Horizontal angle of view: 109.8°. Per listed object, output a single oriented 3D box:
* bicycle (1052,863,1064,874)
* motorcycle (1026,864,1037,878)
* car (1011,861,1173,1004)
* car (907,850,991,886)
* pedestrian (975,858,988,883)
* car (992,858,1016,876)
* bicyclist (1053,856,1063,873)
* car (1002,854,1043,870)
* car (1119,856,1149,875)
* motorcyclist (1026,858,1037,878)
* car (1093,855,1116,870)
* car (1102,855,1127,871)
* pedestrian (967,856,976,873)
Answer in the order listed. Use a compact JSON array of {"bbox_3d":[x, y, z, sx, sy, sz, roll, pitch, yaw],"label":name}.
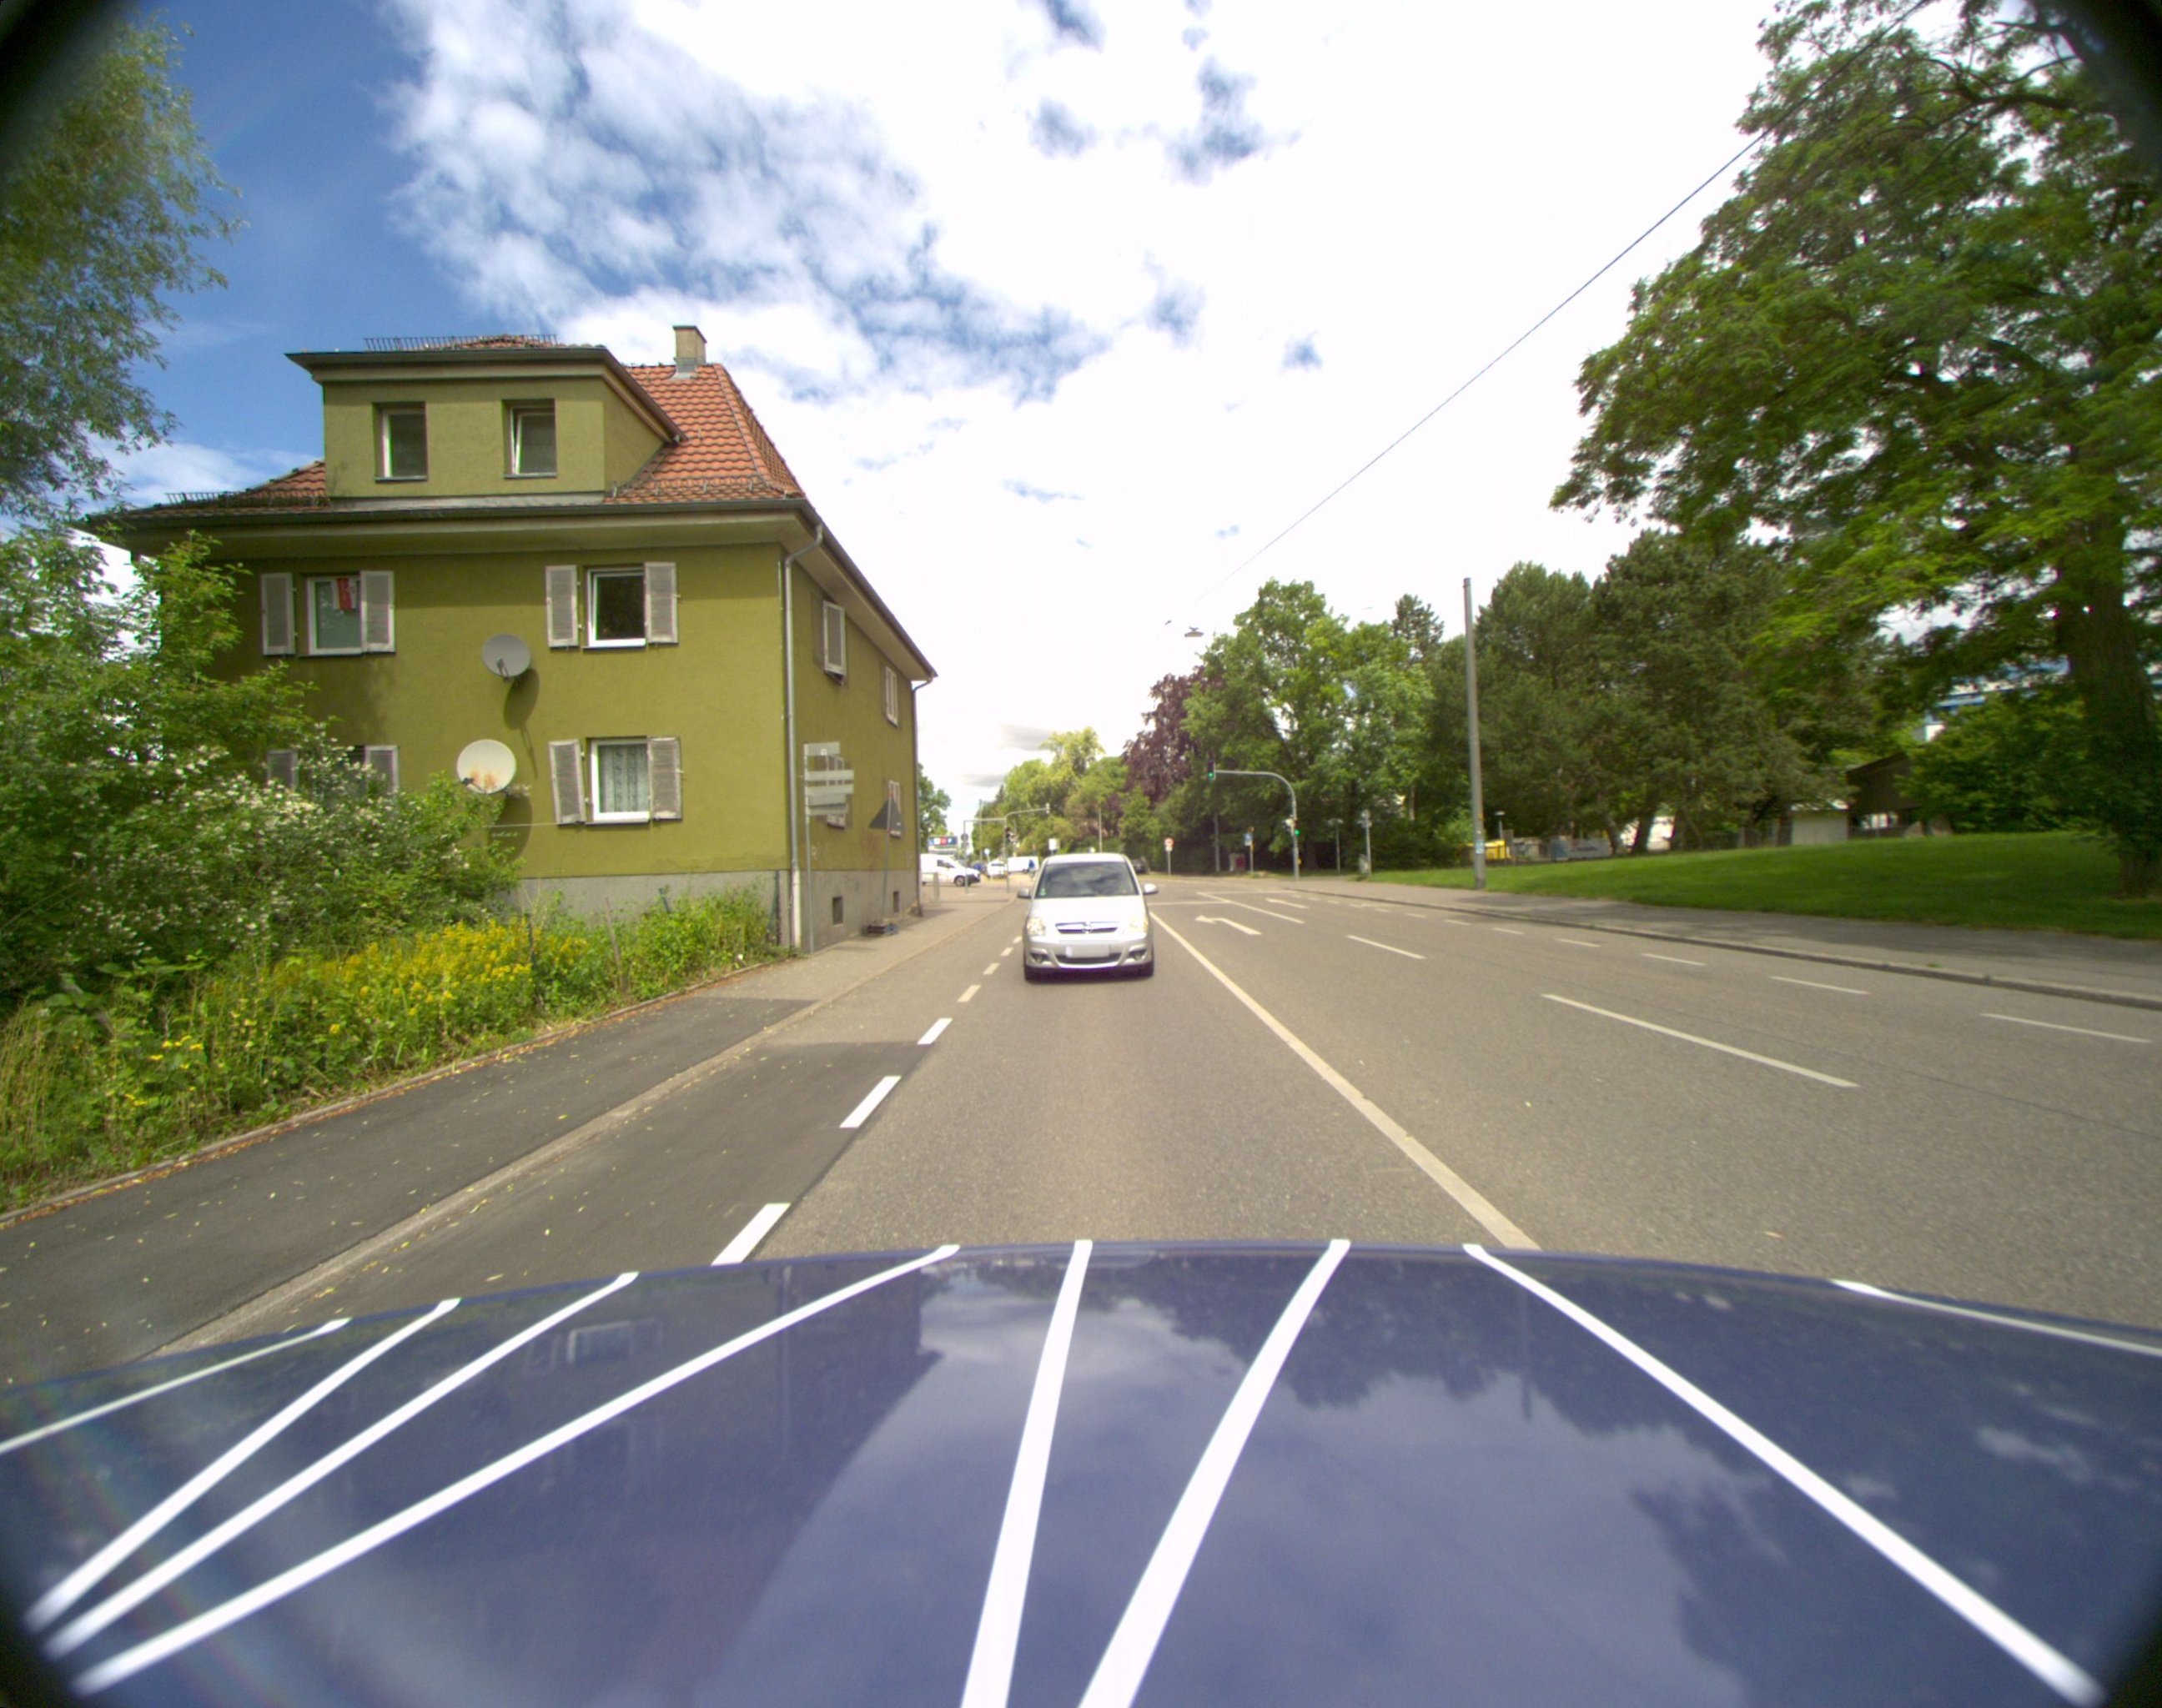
[{"bbox_3d":[-2.281,1.428,75.282,0.814,1.101,1.798,-4,0,-13],"label":"bicycle"},{"bbox_3d":[-3.955,1.374,60.852,0.837,1.101,1.800,0,0,-1],"label":"motorcycle"},{"bbox_3d":[0.157,0.898,10.510,1.780,1.519,4.000,-1,0,1],"label":"car"},{"bbox_3d":[-7.704,0.798,44.566,4.364,1.983,2.001,-1,1,9],"label":"car"},{"bbox_3d":[-6.338,1.016,48.284,0.729,1.543,1.056,-2,0,-10],"label":"pedestrian"},{"bbox_3d":[-6.985,1.141,69.035,1.799,1.501,4.000,-2,0,0],"label":"car"},{"bbox_3d":[-2.294,1.073,75.232,0.808,1.599,0.771,-4,1,-13],"label":"bicyclist"},{"bbox_3d":[-6.863,0.932,88.755,4.491,1.787,1.803,0,1,28],"label":"car"},{"bbox_3d":[4.679,0.993,67.519,1.900,1.501,3.997,0,1,-7],"label":"car"},{"bbox_3d":[-3.952,1.117,60.728,0.837,1.547,0.650,0,1,-1],"label":"motorcyclist"},{"bbox_3d":[2.510,0.911,82.157,1.900,1.501,3.997,0,1,-7],"label":"car"},{"bbox_3d":[3.342,0.935,77.200,1.900,1.501,3.997,0,1,-7],"label":"car"},{"bbox_3d":[-11.192,1.082,77.722,0.723,1.651,0.777,-4,1,-4],"label":"pedestrian"}]
